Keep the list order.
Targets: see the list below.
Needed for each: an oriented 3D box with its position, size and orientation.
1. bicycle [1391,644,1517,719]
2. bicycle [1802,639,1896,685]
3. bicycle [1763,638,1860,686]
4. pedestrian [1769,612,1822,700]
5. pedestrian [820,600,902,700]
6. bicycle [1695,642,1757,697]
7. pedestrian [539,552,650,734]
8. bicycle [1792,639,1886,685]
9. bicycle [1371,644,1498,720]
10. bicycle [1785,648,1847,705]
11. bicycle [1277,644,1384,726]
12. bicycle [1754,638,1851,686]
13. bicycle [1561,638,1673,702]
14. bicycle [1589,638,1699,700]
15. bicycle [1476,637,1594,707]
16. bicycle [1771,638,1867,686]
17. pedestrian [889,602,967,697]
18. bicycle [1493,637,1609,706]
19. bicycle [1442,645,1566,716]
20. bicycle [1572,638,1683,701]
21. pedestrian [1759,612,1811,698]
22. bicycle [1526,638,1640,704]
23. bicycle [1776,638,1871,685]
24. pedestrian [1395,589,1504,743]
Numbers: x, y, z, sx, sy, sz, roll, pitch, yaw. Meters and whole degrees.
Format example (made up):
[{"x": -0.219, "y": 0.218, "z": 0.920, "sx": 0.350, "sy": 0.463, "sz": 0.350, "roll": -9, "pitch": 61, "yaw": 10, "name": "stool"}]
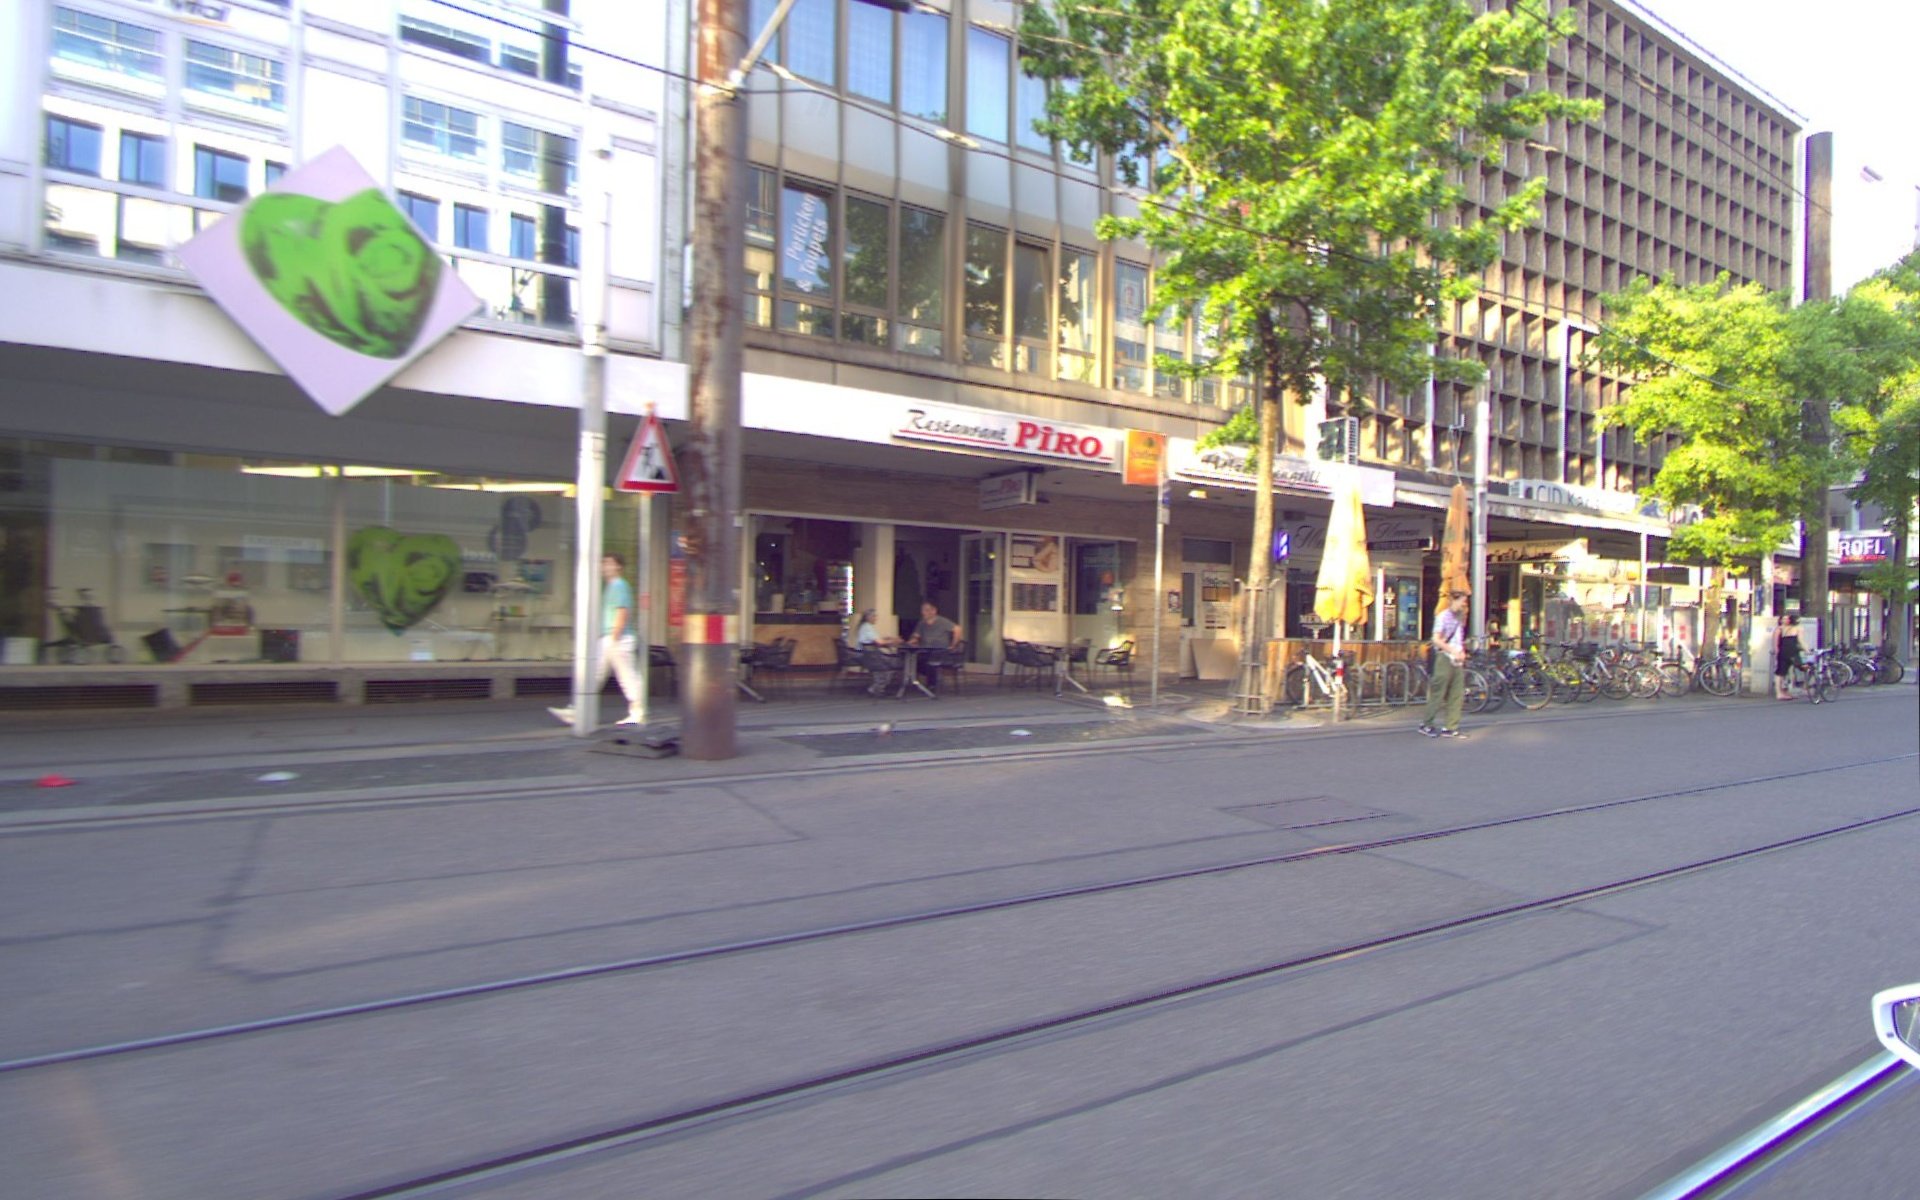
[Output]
[{"x": 7.795, "y": 1.265, "z": 15.929, "sx": 0.485, "sy": 1.003, "sz": 1.759, "roll": 0, "pitch": 2, "yaw": -36, "name": "bicycle"}, {"x": 23.420, "y": 1.609, "z": 26.489, "sx": 0.484, "sy": 1.059, "sz": 1.763, "roll": 1, "pitch": 1, "yaw": -30, "name": "bicycle"}, {"x": 21.345, "y": 1.537, "z": 25.218, "sx": 0.484, "sy": 1.059, "sz": 1.763, "roll": 1, "pitch": 1, "yaw": -30, "name": "bicycle"}, {"x": 16.761, "y": 1.106, "z": 20.155, "sx": 0.525, "sy": 1.722, "sz": 0.603, "roll": 1, "pitch": 0, "yaw": -2, "name": "pedestrian"}, {"x": -1.407, "y": 0.702, "z": 14.250, "sx": 0.902, "sy": 1.343, "sz": 0.666, "roll": 2, "pitch": 2, "yaw": -33, "name": "pedestrian"}, {"x": 15.829, "y": 1.417, "z": 20.755, "sx": 1.759, "sy": 1.059, "sz": 0.485, "roll": 1, "pitch": 0, "yaw": -35, "name": "bicycle"}, {"x": -3.840, "y": 0.435, "z": 10.531, "sx": 0.977, "sy": 1.816, "sz": 0.682, "roll": 2, "pitch": 1, "yaw": -26, "name": "pedestrian"}, {"x": 22.914, "y": 1.592, "z": 26.218, "sx": 0.484, "sy": 1.059, "sz": 1.763, "roll": 1, "pitch": 1, "yaw": -30, "name": "bicycle"}, {"x": 7.356, "y": 1.249, "z": 15.646, "sx": 0.485, "sy": 1.003, "sz": 1.759, "roll": 0, "pitch": 2, "yaw": -36, "name": "bicycle"}, {"x": 16.934, "y": 1.492, "z": 19.855, "sx": 1.759, "sy": 1.059, "sz": 0.485, "roll": 1, "pitch": 0, "yaw": -35, "name": "bicycle"}, {"x": 5.249, "y": 1.177, "z": 14.340, "sx": 0.481, "sy": 0.978, "sz": 1.772, "roll": 2, "pitch": 1, "yaw": -14, "name": "bicycle"}, {"x": 20.864, "y": 1.520, "z": 24.922, "sx": 0.484, "sy": 1.059, "sz": 1.763, "roll": 1, "pitch": 1, "yaw": -30, "name": "bicycle"}, {"x": 12.826, "y": 1.350, "z": 19.659, "sx": 0.485, "sy": 1.085, "sz": 1.759, "roll": 1, "pitch": 2, "yaw": -36, "name": "bicycle"}, {"x": 13.808, "y": 1.378, "z": 20.323, "sx": 0.485, "sy": 1.085, "sz": 1.759, "roll": 1, "pitch": 2, "yaw": -36, "name": "bicycle"}, {"x": 10.294, "y": 1.261, "z": 18.041, "sx": 0.485, "sy": 1.085, "sz": 1.759, "roll": 1, "pitch": 2, "yaw": -36, "name": "bicycle"}, {"x": 21.819, "y": 1.554, "z": 25.540, "sx": 0.484, "sy": 1.059, "sz": 1.763, "roll": 1, "pitch": 1, "yaw": -30, "name": "bicycle"}, {"x": -0.484, "y": 0.731, "z": 15.008, "sx": 0.902, "sy": 1.343, "sz": 0.666, "roll": 2, "pitch": 2, "yaw": -33, "name": "pedestrian"}, {"x": 10.769, "y": 1.278, "z": 18.360, "sx": 0.485, "sy": 1.085, "sz": 1.759, "roll": 1, "pitch": 2, "yaw": -36, "name": "bicycle"}, {"x": 8.984, "y": 1.306, "z": 16.660, "sx": 0.485, "sy": 1.003, "sz": 1.759, "roll": 0, "pitch": 2, "yaw": -36, "name": "bicycle"}, {"x": 13.255, "y": 1.366, "z": 19.991, "sx": 0.485, "sy": 1.085, "sz": 1.759, "roll": 1, "pitch": 2, "yaw": -36, "name": "bicycle"}, {"x": 16.992, "y": 1.118, "z": 20.698, "sx": 0.525, "sy": 1.722, "sz": 0.603, "roll": 1, "pitch": 0, "yaw": -2, "name": "pedestrian"}, {"x": 11.785, "y": 1.314, "z": 19.051, "sx": 0.485, "sy": 1.085, "sz": 1.759, "roll": 1, "pitch": 2, "yaw": -36, "name": "bicycle"}, {"x": 22.024, "y": 1.561, "z": 25.664, "sx": 0.484, "sy": 1.059, "sz": 1.763, "roll": 1, "pitch": 1, "yaw": -30, "name": "bicycle"}, {"x": 6.080, "y": 0.786, "z": 12.530, "sx": 0.806, "sy": 1.817, "sz": 0.990, "roll": 2, "pitch": 2, "yaw": 2, "name": "pedestrian"}]
